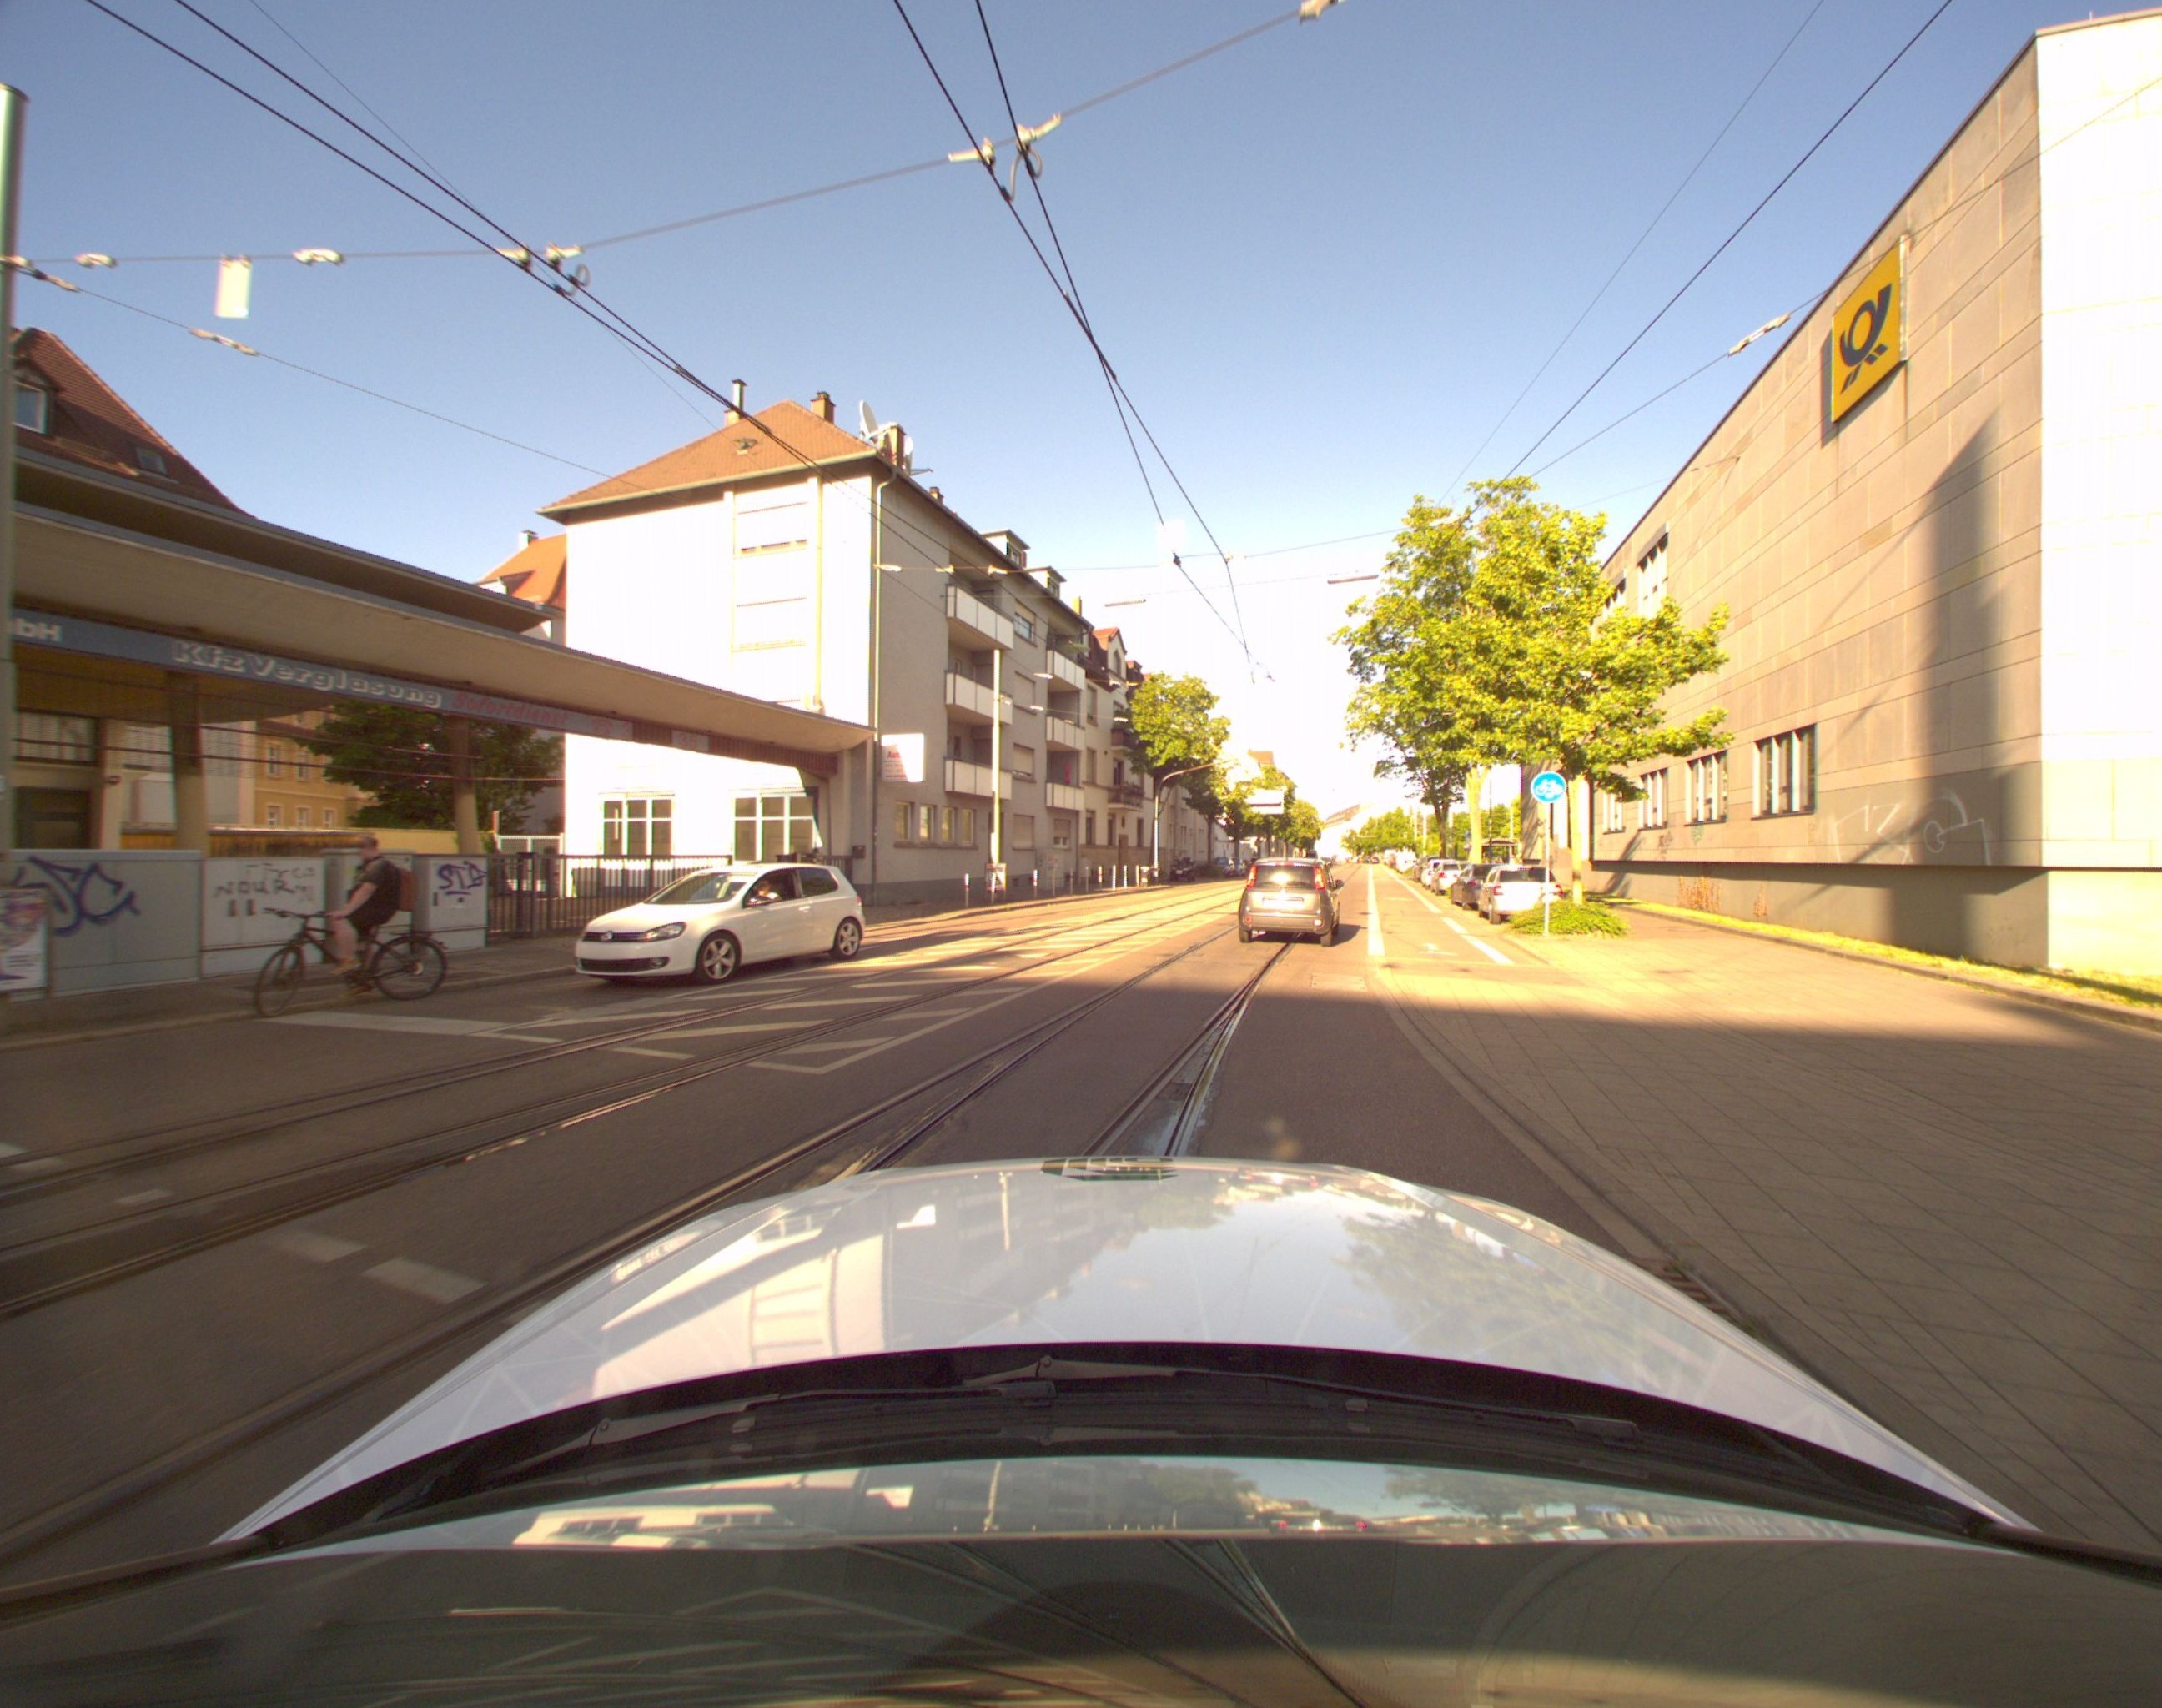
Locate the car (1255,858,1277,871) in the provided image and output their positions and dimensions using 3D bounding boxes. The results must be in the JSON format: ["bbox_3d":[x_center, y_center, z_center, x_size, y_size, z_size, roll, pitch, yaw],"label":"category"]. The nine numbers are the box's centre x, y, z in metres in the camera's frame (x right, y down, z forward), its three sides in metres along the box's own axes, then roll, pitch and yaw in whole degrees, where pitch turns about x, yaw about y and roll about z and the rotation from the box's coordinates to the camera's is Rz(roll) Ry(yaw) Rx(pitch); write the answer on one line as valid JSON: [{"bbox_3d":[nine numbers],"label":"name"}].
[{"bbox_3d":[19.763,1.108,86.764,1.940,1.419,4.207,0,0,18],"label":"car"}]

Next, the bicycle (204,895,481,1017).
[{"bbox_3d":[-7.661,0.996,8.605,0.719,1.017,2.058,0,0,20],"label":"bicycle"}]

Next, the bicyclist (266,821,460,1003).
[{"bbox_3d":[-7.641,0.570,8.739,0.902,1.787,1.258,0,0,14],"label":"bicyclist"}]

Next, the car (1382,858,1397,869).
[{"bbox_3d":[41.040,1.267,108.478,1.682,1.499,4.019,0,0,18],"label":"car"}]

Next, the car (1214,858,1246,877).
[{"bbox_3d":[11.973,1.037,65.188,1.940,1.419,4.207,0,0,18],"label":"car"}]

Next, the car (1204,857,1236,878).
[{"bbox_3d":[10.291,0.997,60.197,1.783,1.486,4.018,0,0,18],"label":"car"}]

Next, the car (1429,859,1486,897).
[{"bbox_3d":[15.824,0.966,34.403,1.807,1.464,4.177,0,0,19],"label":"car"}]

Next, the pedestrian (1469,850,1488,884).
[{"bbox_3d":[24.075,0.785,49.369,0.960,2.014,1.030,0,-1,20],"label":"pedestrian"}]

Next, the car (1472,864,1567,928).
[{"bbox_3d":[11.387,1.016,21.371,1.628,1.455,3.934,0,0,20],"label":"car"}]

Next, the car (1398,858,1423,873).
[{"bbox_3d":[30.896,1.071,76.459,1.899,1.375,4.207,0,0,18],"label":"car"}]

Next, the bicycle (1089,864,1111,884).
[{"bbox_3d":[0.970,1.004,41.211,0.502,1.007,2.030,0,0,19],"label":"bicycle"}]

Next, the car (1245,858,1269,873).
[{"bbox_3d":[17.298,1.072,79.842,1.940,1.419,4.207,0,0,18],"label":"car"}]

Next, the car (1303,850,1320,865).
[{"bbox_3d":[38.775,0.610,137.034,2.314,2.569,5.699,0,0,19],"label":"car"}]

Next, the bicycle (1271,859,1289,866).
[{"bbox_3d":[24.812,1.039,101.715,0.794,0.930,2.242,0,0,-35],"label":"bicycle"}]

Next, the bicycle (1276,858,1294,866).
[{"bbox_3d":[25.638,1.032,102.354,0.794,0.930,2.300,0,0,-35],"label":"bicycle"}]

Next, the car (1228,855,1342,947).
[{"bbox_3d":[3.996,0.796,15.524,1.717,1.500,4.019,0,-1,20],"label":"car"}]

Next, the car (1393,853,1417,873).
[{"bbox_3d":[32.294,0.849,81.201,1.940,1.905,4.207,0,0,18],"label":"car"}]

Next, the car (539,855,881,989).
[{"bbox_3d":[-4.712,0.763,11.114,1.775,1.458,4.211,-1,-1,20],"label":"car"}]

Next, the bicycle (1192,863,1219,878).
[{"bbox_3d":[8.624,1.139,56.550,1.739,1.023,0.609,2,-1,-1],"label":"bicycle"}]

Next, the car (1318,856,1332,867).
[{"bbox_3d":[34.298,0.973,114.353,1.767,1.492,4.207,1,0,18],"label":"car"}]

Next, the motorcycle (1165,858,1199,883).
[{"bbox_3d":[6.153,0.965,49.332,1.446,1.481,3.116,0,0,18],"label":"motorcycle"}]

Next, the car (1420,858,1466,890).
[{"bbox_3d":[17.750,0.946,40.054,1.731,1.458,4.641,0,0,20],"label":"car"}]

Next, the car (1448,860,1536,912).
[{"bbox_3d":[13.059,0.938,26.124,1.824,1.490,4.664,0,0,18],"label":"car"}]

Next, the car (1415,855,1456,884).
[{"bbox_3d":[20.454,0.862,47.155,1.802,1.640,4.124,0,0,18],"label":"car"}]

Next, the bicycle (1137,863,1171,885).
[{"bbox_3d":[3.674,1.008,40.840,1.609,1.044,0.456,2,-1,-13],"label":"bicycle"}]

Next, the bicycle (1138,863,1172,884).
[{"bbox_3d":[3.886,1.018,42.618,1.701,1.033,0.444,2,-1,-1],"label":"bicycle"}]
